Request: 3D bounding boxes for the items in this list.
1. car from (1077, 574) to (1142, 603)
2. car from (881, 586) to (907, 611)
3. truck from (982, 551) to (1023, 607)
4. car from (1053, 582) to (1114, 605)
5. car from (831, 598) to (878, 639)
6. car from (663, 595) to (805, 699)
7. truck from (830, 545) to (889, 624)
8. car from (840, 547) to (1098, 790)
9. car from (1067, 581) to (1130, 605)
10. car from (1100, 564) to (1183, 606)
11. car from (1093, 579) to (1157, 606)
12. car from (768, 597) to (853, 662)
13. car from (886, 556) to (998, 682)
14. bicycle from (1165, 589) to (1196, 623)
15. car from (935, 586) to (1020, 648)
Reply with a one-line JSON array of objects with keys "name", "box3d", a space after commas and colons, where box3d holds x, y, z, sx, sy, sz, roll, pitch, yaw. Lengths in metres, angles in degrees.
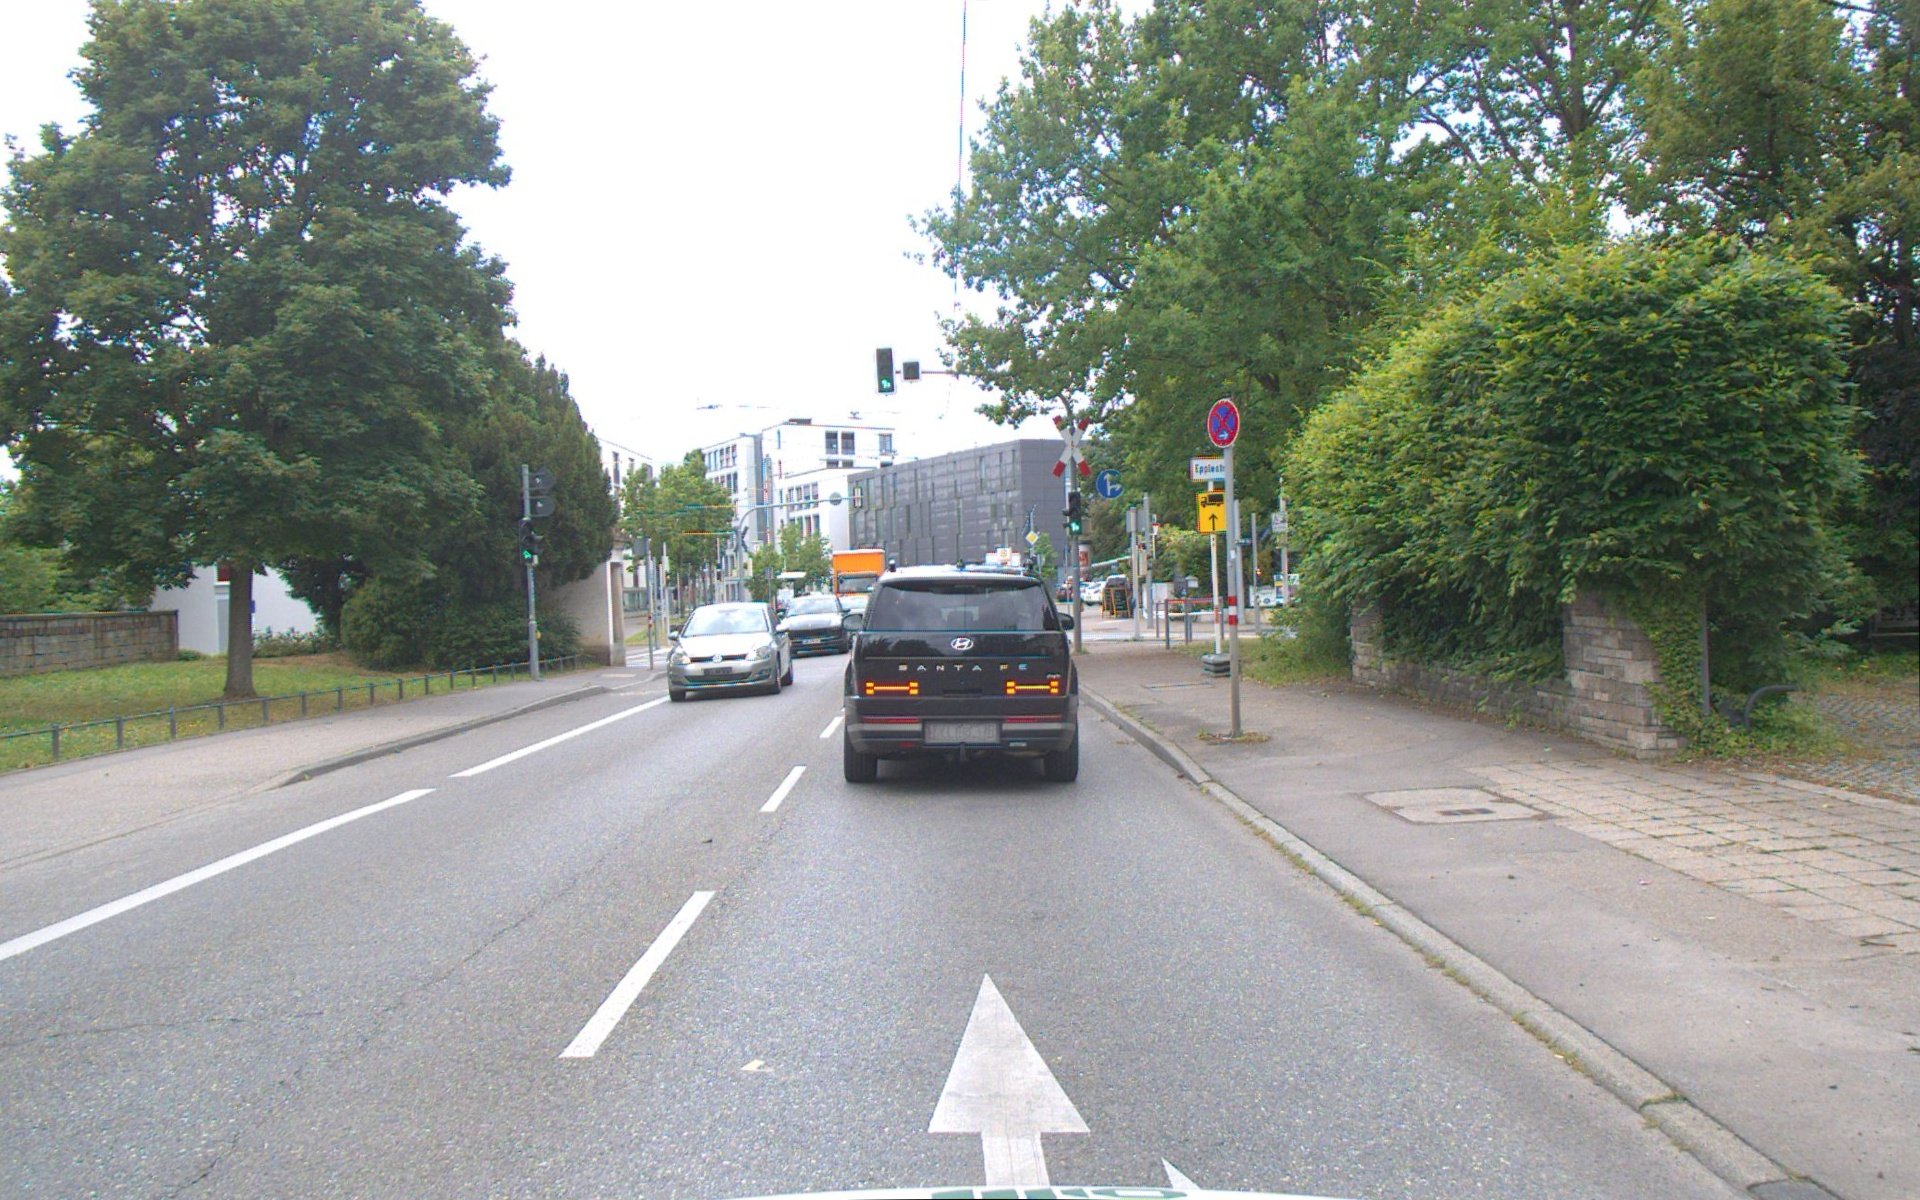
[{"name": "car", "box3d": [9.119, -0.682, 100.869, 3.598, 1.460, 1.577, -4, 0, -28]}, {"name": "car", "box3d": [-4.819, -0.105, 121.090, 1.752, 1.690, 4.276, -3, 0, -1]}, {"name": "truck", "box3d": [2.864, -1.445, 113.068, 2.520, 3.586, 7.811, -2, 1, 1]}, {"name": "car", "box3d": [8.357, -0.435, 112.183, 3.745, 1.499, 1.783, 0, -1, -26]}, {"name": "car", "box3d": [-4.112, 0.706, 64.673, 1.630, 1.474, 3.826, -2, 0, -2]}, {"name": "car", "box3d": [-3.651, 0.717, 27.408, 1.690, 1.488, 4.154, -3, 0, 0]}, {"name": "truck", "box3d": [-5.134, -0.801, 86.083, 2.713, 3.783, 8.465, -3, 0, -2]}, {"name": "car", "box3d": [-0.041, 0.480, 14.191, 1.877, 1.755, 4.168, -1, 1, -3]}, {"name": "car", "box3d": [8.938, -0.455, 106.793, 3.753, 1.499, 1.779, 0, -1, -31]}, {"name": "car", "box3d": [8.661, -0.723, 78.687, 1.814, 1.779, 4.678, -2, 1, 36]}, {"name": "car", "box3d": [9.546, -0.444, 95.761, 3.472, 1.402, 1.530, -4, 2, -32]}, {"name": "car", "box3d": [-4.124, 0.782, 46.155, 1.900, 1.557, 4.525, -4, 0, -1]}, {"name": "car", "box3d": [-0.390, 0.291, 30.308, 1.818, 2.068, 4.435, -2, 1, -2]}, {"name": "bicycle", "box3d": [8.359, 0.220, 62.748, 0.538, 1.158, 1.872, -2, 4, -13]}, {"name": "car", "box3d": [0.508, 0.417, 43.131, 1.952, 1.489, 4.521, -1, 0, 3]}]
